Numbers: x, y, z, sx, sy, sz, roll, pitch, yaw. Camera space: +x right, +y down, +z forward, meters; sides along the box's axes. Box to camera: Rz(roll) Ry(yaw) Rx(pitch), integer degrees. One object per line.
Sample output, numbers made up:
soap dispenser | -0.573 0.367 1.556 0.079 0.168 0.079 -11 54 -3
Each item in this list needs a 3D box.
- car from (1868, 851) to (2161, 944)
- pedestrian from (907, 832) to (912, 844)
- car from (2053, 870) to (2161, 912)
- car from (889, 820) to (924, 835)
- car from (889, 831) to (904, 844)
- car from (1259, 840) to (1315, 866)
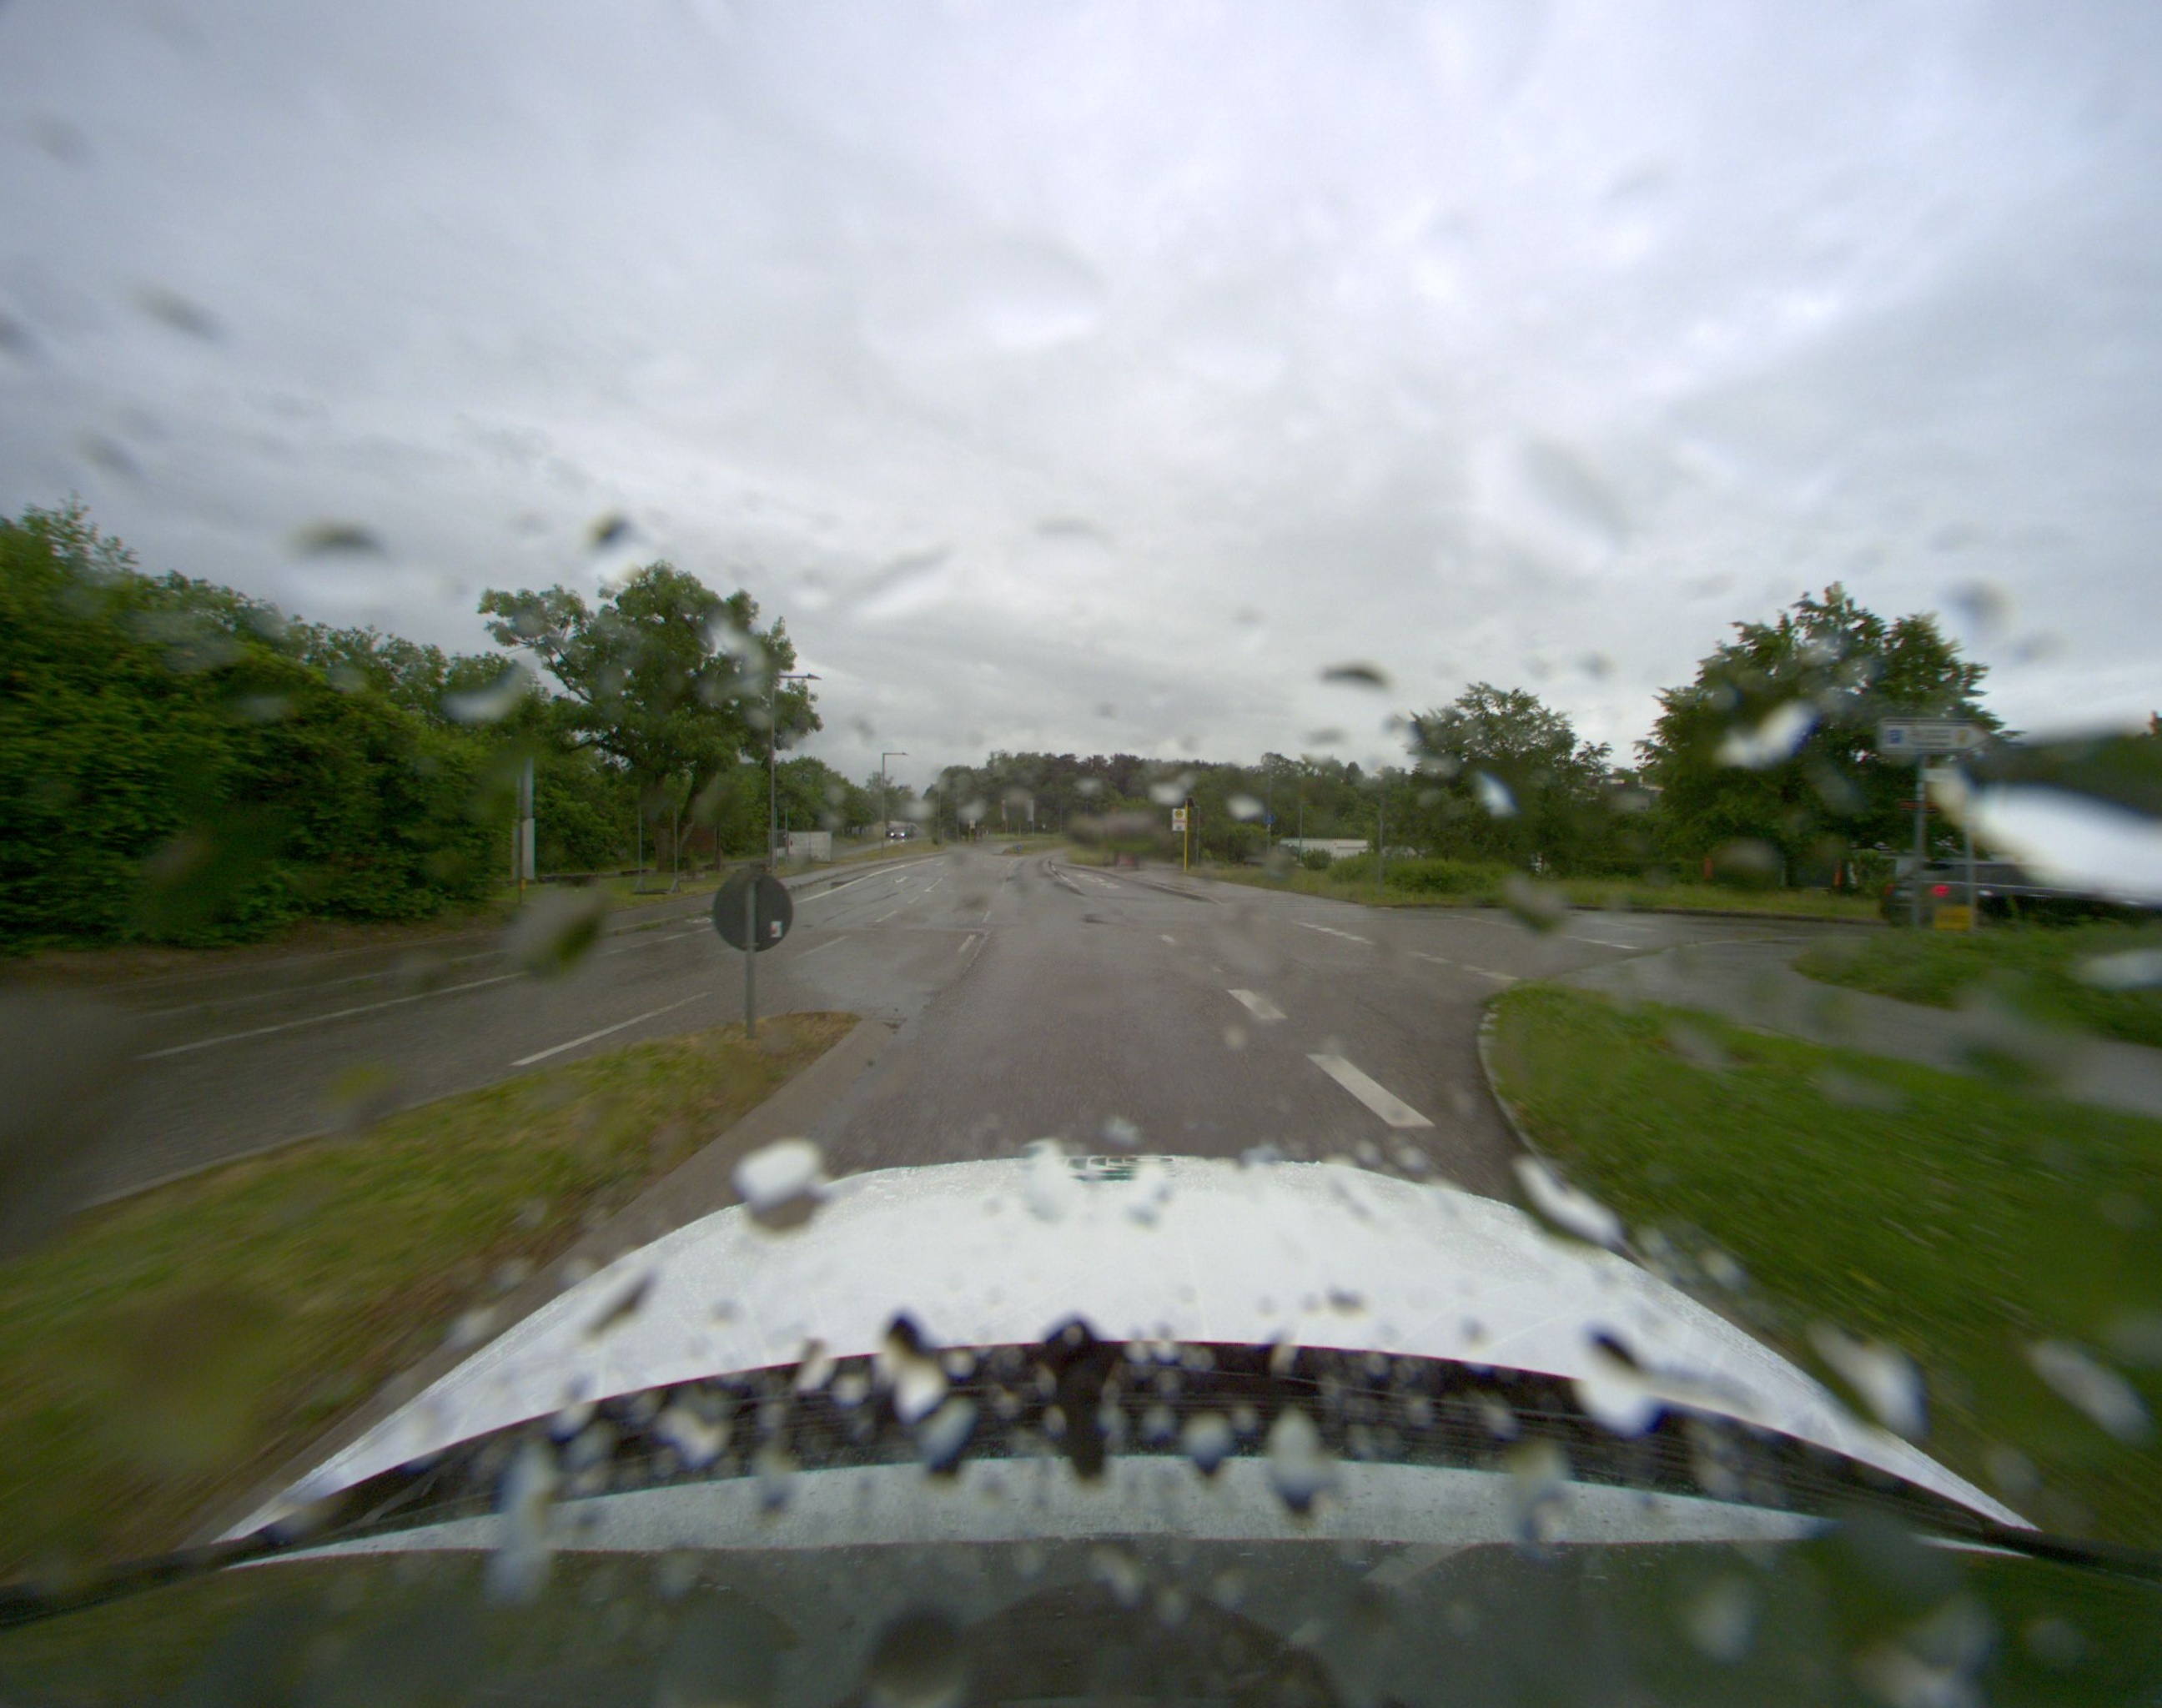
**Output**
car | 16.677 0.732 14.513 3.493 1.355 1.467 3 0 20
pedestrian | -22.604 -2.127 107.464 0.567 1.620 0.634 1 -1 -16
car | 46.786 1.628 36.085 1.919 1.750 4.512 0 -3 -32
car | -29.570 -4.506 138.158 5.666 2.404 1.997 1 -1 -5
car | -24.082 -2.134 106.468 1.692 1.620 3.873 1 0 -16
car | 15.138 -0.047 59.830 3.381 1.691 2.011 -2 -5 45
